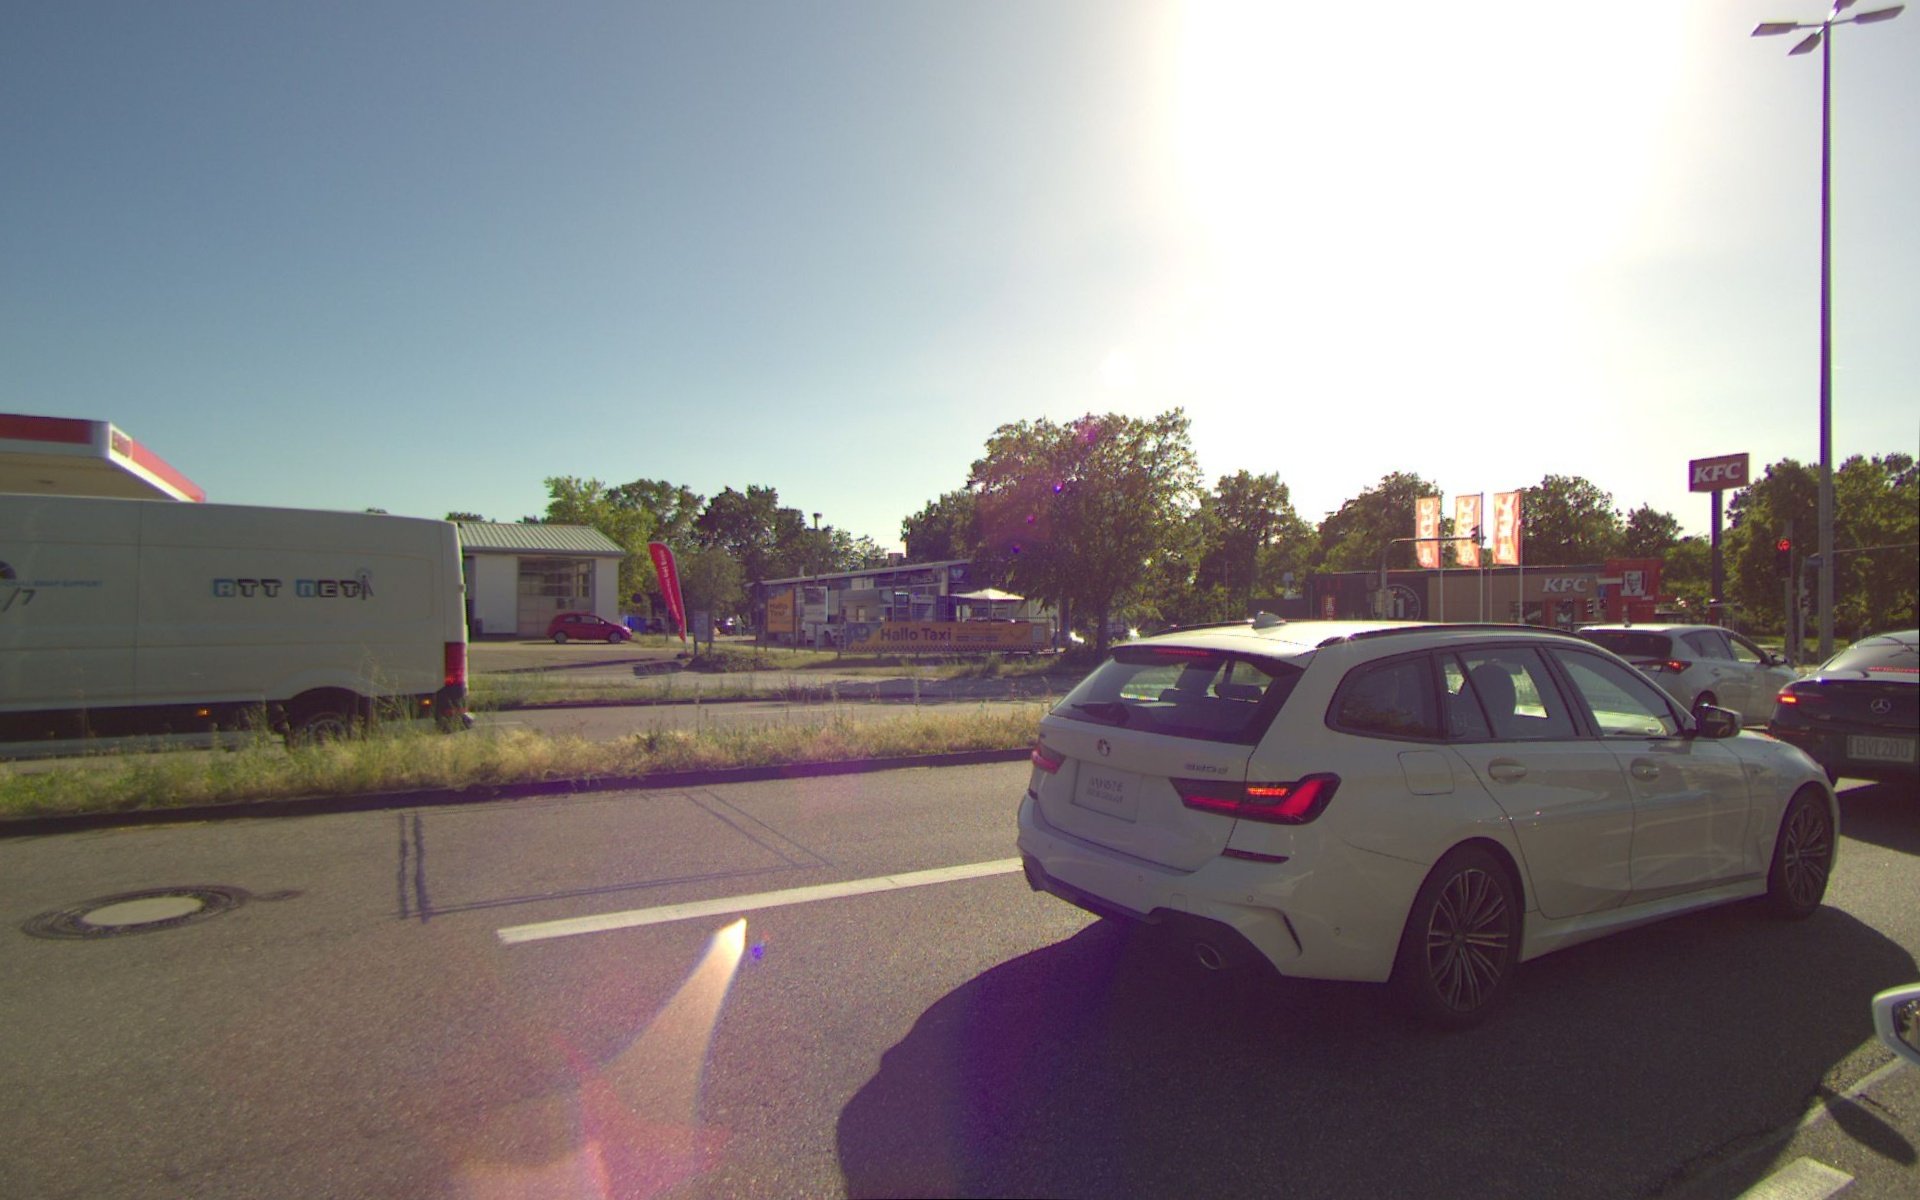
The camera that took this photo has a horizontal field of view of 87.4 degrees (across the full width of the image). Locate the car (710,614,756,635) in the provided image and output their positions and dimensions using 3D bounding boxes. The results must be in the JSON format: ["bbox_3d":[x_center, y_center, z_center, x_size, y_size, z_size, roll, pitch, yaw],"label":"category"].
[{"bbox_3d":[-19.922,2.143,88.256,2.085,1.840,4.000,0,-1,20],"label":"car"}]

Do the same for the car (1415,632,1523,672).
[{"bbox_3d":[22.823,2.311,45.170,1.806,1.616,4.012,1,-1,-34],"label":"car"}]

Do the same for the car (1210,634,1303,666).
[{"bbox_3d":[15.243,2.548,51.822,1.840,1.448,4.701,1,-1,-28],"label":"car"}]

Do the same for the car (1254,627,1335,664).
[{"bbox_3d":[17.940,2.411,53.999,1.802,1.805,4.021,1,-1,-28],"label":"car"}]

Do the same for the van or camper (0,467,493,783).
[{"bbox_3d":[-8.147,0.217,9.397,6.675,2.606,2.167,1,-1,-31],"label":"van or camper"}]

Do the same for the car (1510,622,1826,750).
[{"bbox_3d":[9.536,1.048,13.458,4.352,1.448,1.848,1,-1,-30],"label":"car"}]

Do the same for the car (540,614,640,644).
[{"bbox_3d":[-18.204,1.420,49.457,4.486,1.458,1.741,1,-1,-26],"label":"car"}]

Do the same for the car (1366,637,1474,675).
[{"bbox_3d":[19.529,2.356,42.810,1.800,1.448,4.024,1,-1,-26],"label":"car"}]

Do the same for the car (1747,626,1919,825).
[{"bbox_3d":[8.806,0.961,8.622,4.409,1.433,1.760,1,-1,-30],"label":"car"}]

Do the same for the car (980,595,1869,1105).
[{"bbox_3d":[2.427,0.793,4.902,4.409,1.529,1.760,1,-1,-30],"label":"car"}]

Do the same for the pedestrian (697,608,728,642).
[{"bbox_3d":[-13.192,1.322,53.555,1.140,1.787,1.096,0,-1,36],"label":"pedestrian"}]

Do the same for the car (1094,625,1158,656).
[{"bbox_3d":[9.971,2.431,60.707,1.738,1.751,3.969,1,-1,-29],"label":"car"}]
